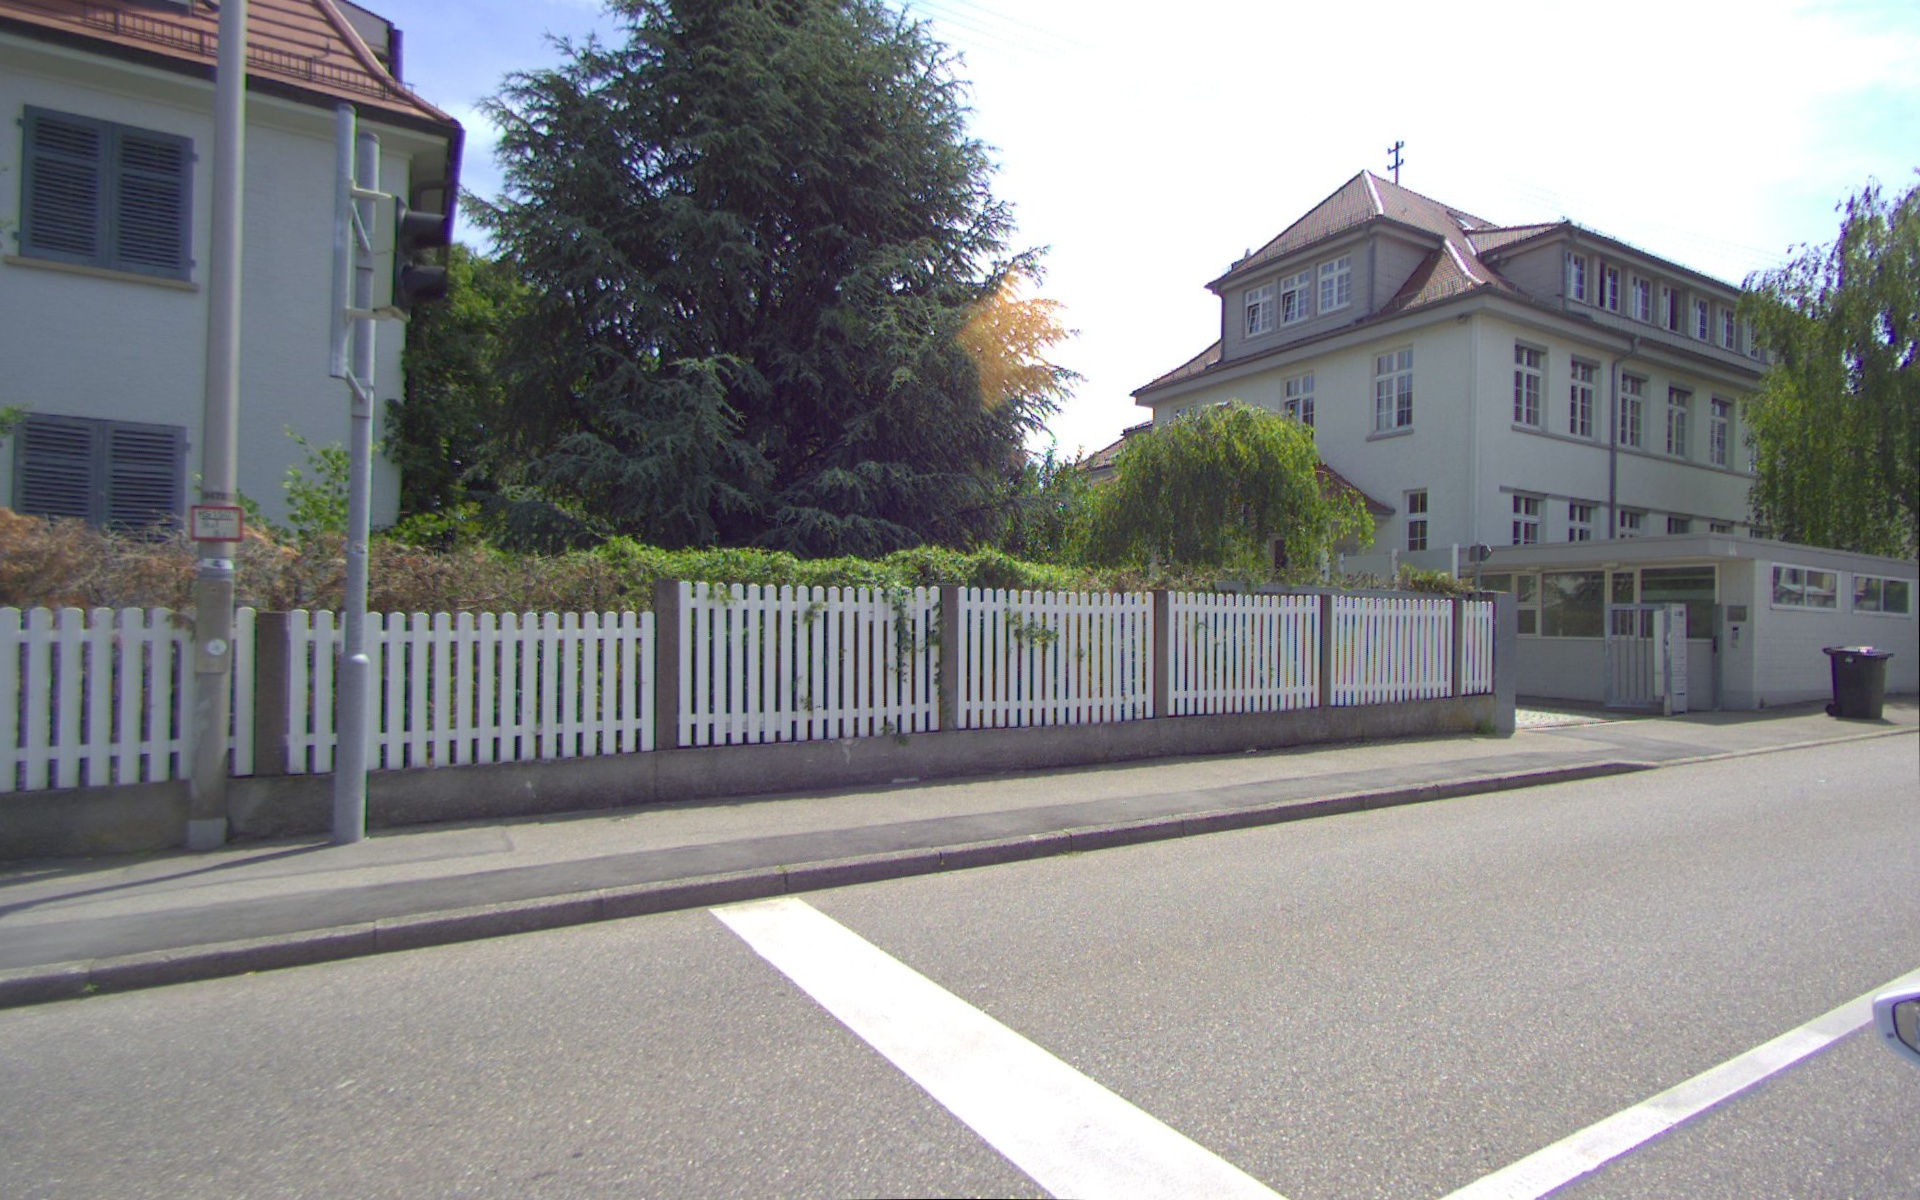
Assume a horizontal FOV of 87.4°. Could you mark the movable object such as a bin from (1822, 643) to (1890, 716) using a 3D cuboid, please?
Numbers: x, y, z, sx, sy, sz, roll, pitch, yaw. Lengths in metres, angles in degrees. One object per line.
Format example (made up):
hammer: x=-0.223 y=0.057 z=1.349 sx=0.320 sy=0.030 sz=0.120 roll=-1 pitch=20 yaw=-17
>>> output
movable object such as a bin: x=13.934 y=1.218 z=15.627 sx=0.716 sy=1.060 sz=0.604 roll=-1 pitch=1 yaw=-31
